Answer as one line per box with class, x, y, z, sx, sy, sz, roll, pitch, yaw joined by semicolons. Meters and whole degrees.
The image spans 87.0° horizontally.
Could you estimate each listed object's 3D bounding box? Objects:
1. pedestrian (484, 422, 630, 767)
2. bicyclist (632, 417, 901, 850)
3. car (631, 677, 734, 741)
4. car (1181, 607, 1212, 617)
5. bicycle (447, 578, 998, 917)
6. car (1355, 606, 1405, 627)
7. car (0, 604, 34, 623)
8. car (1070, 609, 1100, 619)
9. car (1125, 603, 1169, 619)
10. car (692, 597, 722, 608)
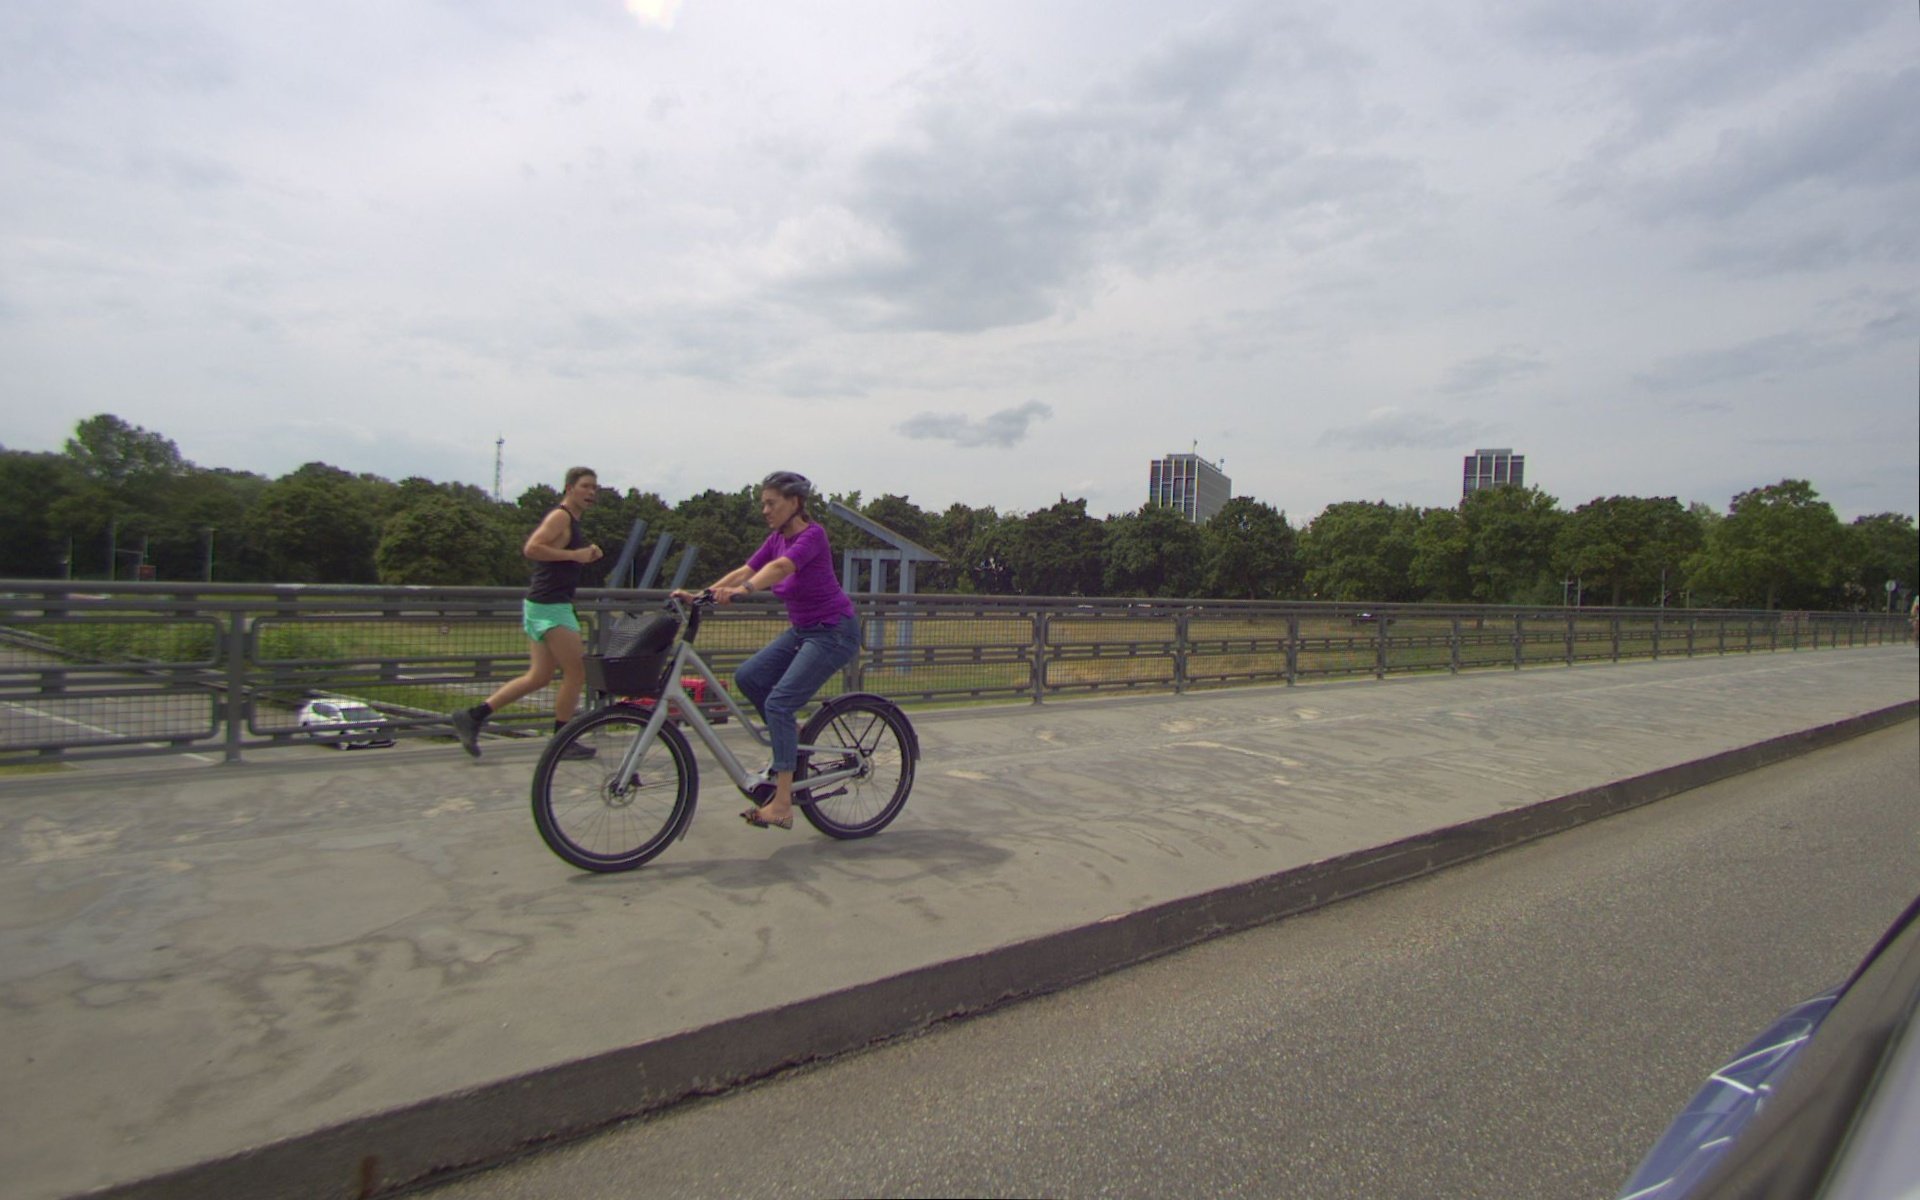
pedestrian;-2.565;-0.032;6.429;0.655;2.039;0.629;2;0;-38
bicyclist;-0.901;0.132;4.738;0.973;1.777;0.704;1;1;-40
car;-13.150;5.095;47.837;4.621;2.460;1.979;2;0;30
car;30.340;1.503;129.951;3.649;1.145;1.663;1;-1;28
bicycle;-0.963;0.543;4.699;2.417;1.207;0.695;1;1;-40
car;44.770;1.775;107.983;1.966;2.039;4.464;2;0;-42
car;-90.431;1.262;96.778;3.976;1.604;1.974;3;2;36
car;16.800;1.843;136.096;3.649;1.288;1.663;1;-1;28
car;22.912;1.355;124.031;4.852;1.825;1.983;2;0;25
car;-36.642;0.361;146.609;3.918;1.416;2.003;2;0;-8
